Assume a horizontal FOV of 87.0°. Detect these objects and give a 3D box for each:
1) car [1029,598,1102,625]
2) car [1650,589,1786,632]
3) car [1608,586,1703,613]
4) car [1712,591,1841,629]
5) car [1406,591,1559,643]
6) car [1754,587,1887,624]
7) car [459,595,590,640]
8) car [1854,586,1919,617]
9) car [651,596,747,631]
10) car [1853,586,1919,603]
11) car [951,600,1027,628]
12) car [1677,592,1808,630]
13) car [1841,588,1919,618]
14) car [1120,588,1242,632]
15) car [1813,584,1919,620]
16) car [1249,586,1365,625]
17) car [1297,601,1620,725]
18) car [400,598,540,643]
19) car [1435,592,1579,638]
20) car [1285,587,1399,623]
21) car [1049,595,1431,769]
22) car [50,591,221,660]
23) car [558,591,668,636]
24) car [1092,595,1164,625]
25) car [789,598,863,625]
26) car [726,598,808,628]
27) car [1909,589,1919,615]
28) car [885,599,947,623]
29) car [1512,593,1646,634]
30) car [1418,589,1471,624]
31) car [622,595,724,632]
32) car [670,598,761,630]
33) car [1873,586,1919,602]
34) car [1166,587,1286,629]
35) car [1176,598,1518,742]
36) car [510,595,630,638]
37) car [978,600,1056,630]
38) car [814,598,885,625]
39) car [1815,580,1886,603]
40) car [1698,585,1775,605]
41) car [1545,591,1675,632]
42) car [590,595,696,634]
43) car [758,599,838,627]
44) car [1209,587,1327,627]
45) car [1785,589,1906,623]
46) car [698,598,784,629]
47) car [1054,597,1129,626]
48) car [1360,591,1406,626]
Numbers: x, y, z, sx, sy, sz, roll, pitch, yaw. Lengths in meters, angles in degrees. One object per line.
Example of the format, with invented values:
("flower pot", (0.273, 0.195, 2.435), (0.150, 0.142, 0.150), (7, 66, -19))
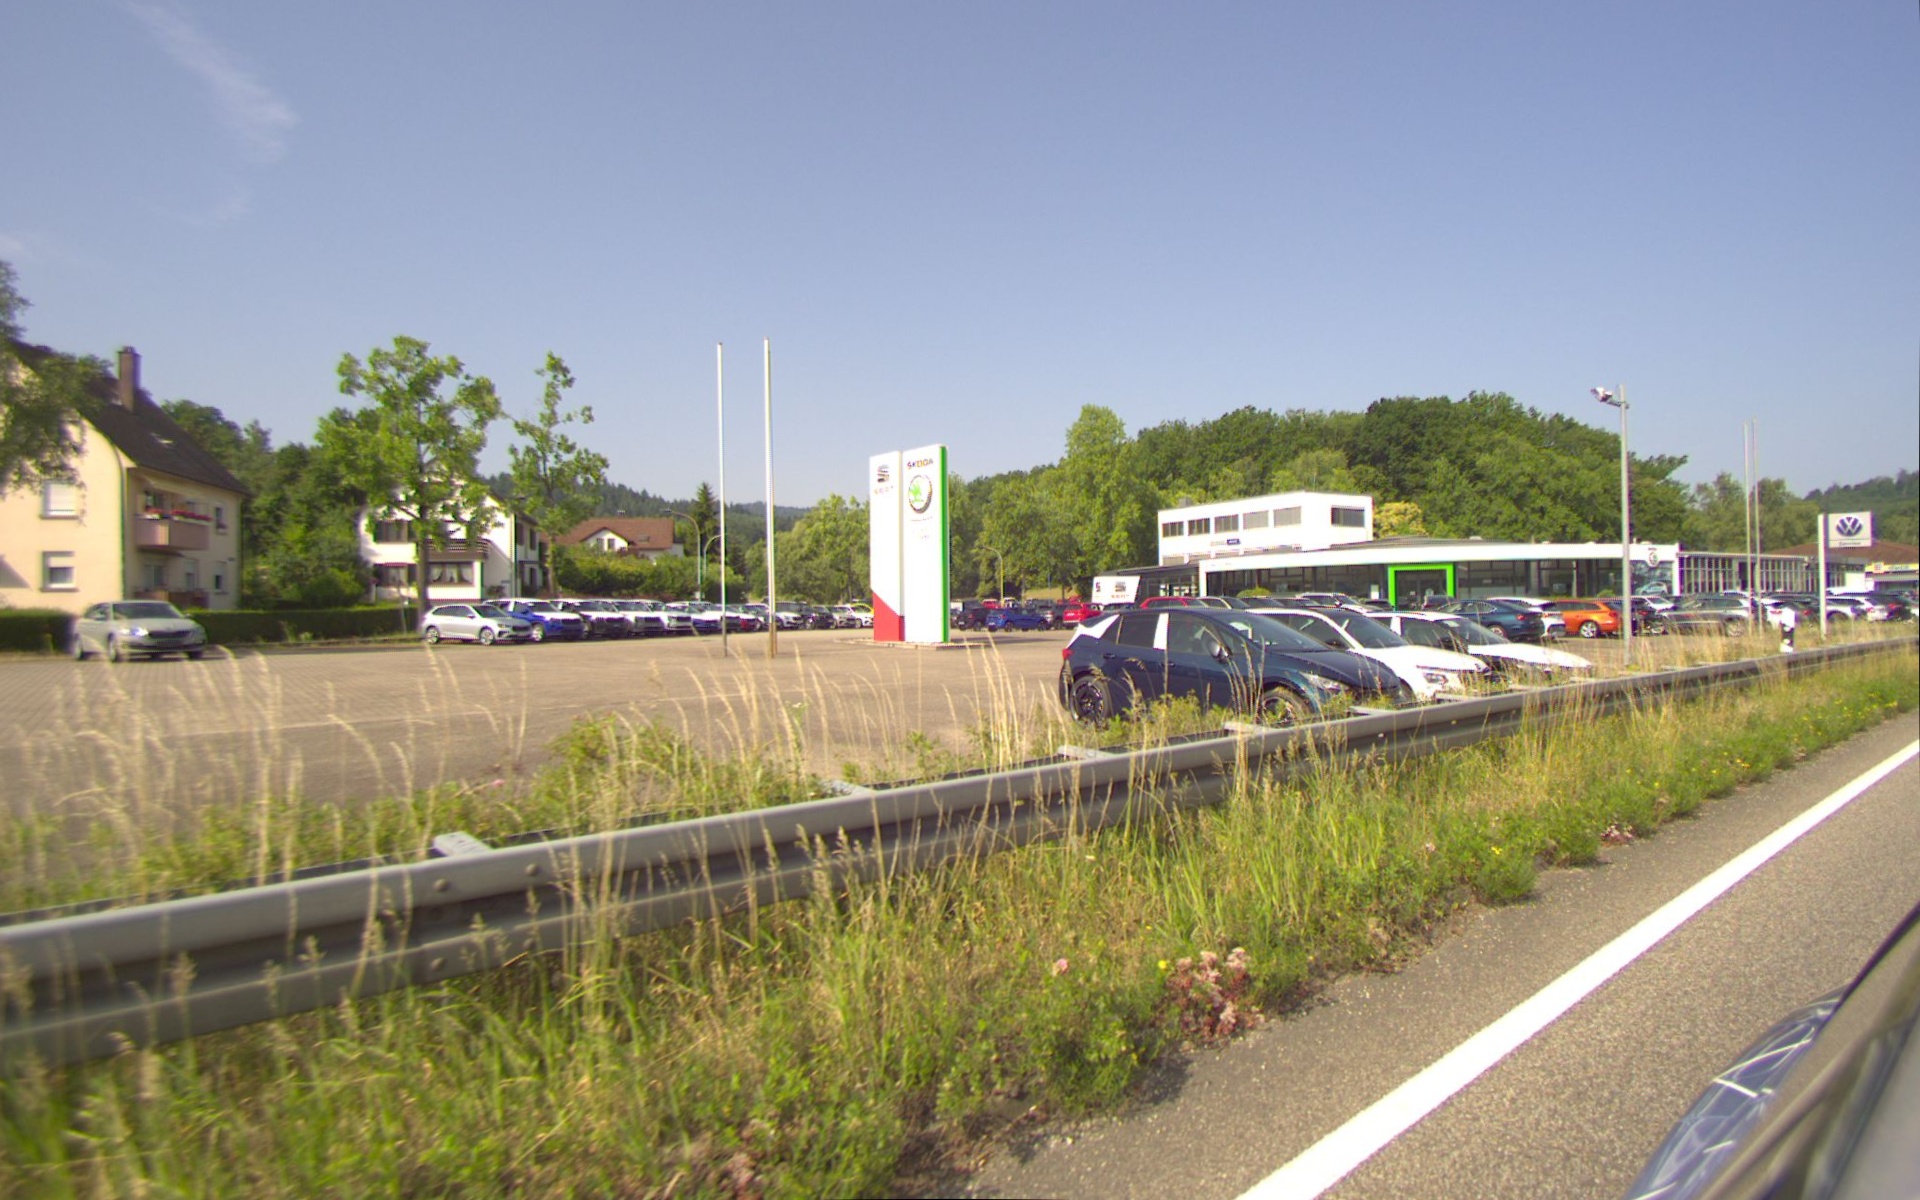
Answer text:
("car", (6.653, 0.693, 63.611), (4.376, 1.565, 1.841), (-1, 1, -33))
("car", (30.412, 0.389, 40.708), (1.760, 1.630, 4.086), (-1, 1, -38))
("car", (41.786, -0.044, 60.936), (1.753, 1.507, 4.732), (0, 1, -15))
("car", (34.775, 0.390, 43.199), (1.697, 1.513, 4.002), (0, 1, -33))
("car", (17.303, 0.507, 33.683), (1.793, 1.535, 4.164), (-1, 1, -40))
("car", (40.384, 0.203, 47.594), (1.820, 1.620, 4.461), (-1, 1, -36))
("car", (-16.989, 0.648, 39.462), (4.693, 1.608, 1.919), (1, 1, 20))
("car", (50.203, 0.064, 53.495), (1.746, 1.571, 4.100), (0, 1, -32))
("car", (-13.396, 0.652, 51.880), (4.705, 1.654, 1.914), (1, 1, 27))
("car", (84.594, -0.524, 92.392), (1.755, 1.482, 4.329), (0, 1, -30))
("car", (1.773, 0.819, 61.454), (4.376, 1.565, 1.841), (-1, 1, -33))
("car", (32.509, 0.411, 42.152), (1.757, 1.513, 4.000), (0, 1, -35))
("car", (48.011, 0.127, 52.071), (1.632, 1.477, 3.747), (0, 1, -32))
("car", (8.712, 0.356, 40.360), (1.895, 1.584, 4.752), (-1, 2, -35))
("car", (44.901, 0.076, 49.956), (1.803, 1.684, 3.897), (0, 1, -28))
("car", (15.567, 0.210, 45.659), (1.895, 1.584, 4.752), (-1, 2, -35))
("car", (7.572, 0.848, 15.719), (1.700, 1.509, 4.170), (-1, 2, -39))
("car", (-17.869, 0.696, 36.895), (4.693, 1.477, 1.919), (1, 1, 20))
("car", (19.204, 0.479, 35.665), (1.791, 1.535, 4.104), (-1, 1, -37))
("car", (17.856, 0.190, 47.496), (1.895, 1.584, 4.752), (-1, 2, -35))
("car", (3.126, 0.791, 12.034), (1.709, 1.564, 4.170), (-1, 2, -39))
("car", (-20.189, 0.556, 24.738), (4.727, 1.540, 1.973), (0, 1, 34))
("car", (-15.224, 0.534, 44.306), (4.708, 1.802, 1.913), (1, 1, 29))
("car", (9.887, 0.546, 59.384), (1.997, 1.565, 4.538), (1, 2, 44))
("car", (-8.492, 0.713, 63.889), (4.723, 1.565, 1.816), (1, 1, 36))
("car", (-11.195, 0.711, 58.621), (4.709, 1.565, 1.759), (1, 1, 29))
("car", (54.560, 0.120, 55.130), (1.711, 1.477, 3.854), (0, 1, -31))
("car", (-3.223, 0.797, 72.948), (1.748, 1.565, 4.739), (-1, 2, -45))
("car", (23.594, 0.462, 38.690), (1.791, 1.464, 3.998), (-1, 1, -37))
("car", (23.994, 0.264, 50.230), (1.908, 1.584, 4.720), (1, 1, 20))
("car", (-13.972, 0.636, 49.228), (4.703, 1.654, 1.915), (1, 1, 26))
("car", (-13.098, 0.731, 54.153), (4.702, 1.565, 1.761), (1, 1, 25))
("car", (88.748, -0.560, 95.145), (1.755, 1.482, 4.004), (0, 1, -30))
("car", (10.953, 0.267, 41.966), (1.895, 1.584, 4.752), (-1, 2, -35))
("car", (5.248, 0.822, 14.191), (1.739, 1.575, 4.170), (-1, 2, -39))
("car", (-16.111, 0.649, 41.789), (4.699, 1.608, 1.917), (1, 1, 24))
("car", (3.365, 0.855, 59.172), (4.378, 1.565, 1.840), (-1, 1, -35))
("car", (-7.266, 0.721, 66.200), (4.724, 1.565, 1.753), (1, 1, 37))
("car", (77.210, -0.741, 87.804), (1.755, 1.948, 4.328), (0, 1, -32))
("car", (59.545, -0.410, 77.686), (1.756, 1.482, 4.326), (-1, 1, -34))
("car", (25.849, 0.413, 40.358), (1.808, 1.505, 3.998), (-1, 1, -37))
("car", (-14.683, 0.632, 46.895), (4.704, 1.654, 1.914), (1, 1, 27))
("car", (-9.768, 0.747, 60.885), (4.711, 1.565, 1.758), (1, 1, 30))
("car", (13.207, 0.240, 43.659), (1.895, 1.584, 4.752), (-1, 2, -35))
("car", (42.747, 0.248, 48.939), (1.688, 1.504, 4.055), (0, 1, -28))
("car", (-12.193, 0.714, 56.259), (4.706, 1.565, 1.760), (1, 1, 28))
("car", (8.020, 0.673, 61.553), (4.530, 1.565, 2.000), (-1, 2, -41))
("car", (21.366, 0.378, 51.248), (1.908, 1.584, 4.720), (1, 1, 20))
